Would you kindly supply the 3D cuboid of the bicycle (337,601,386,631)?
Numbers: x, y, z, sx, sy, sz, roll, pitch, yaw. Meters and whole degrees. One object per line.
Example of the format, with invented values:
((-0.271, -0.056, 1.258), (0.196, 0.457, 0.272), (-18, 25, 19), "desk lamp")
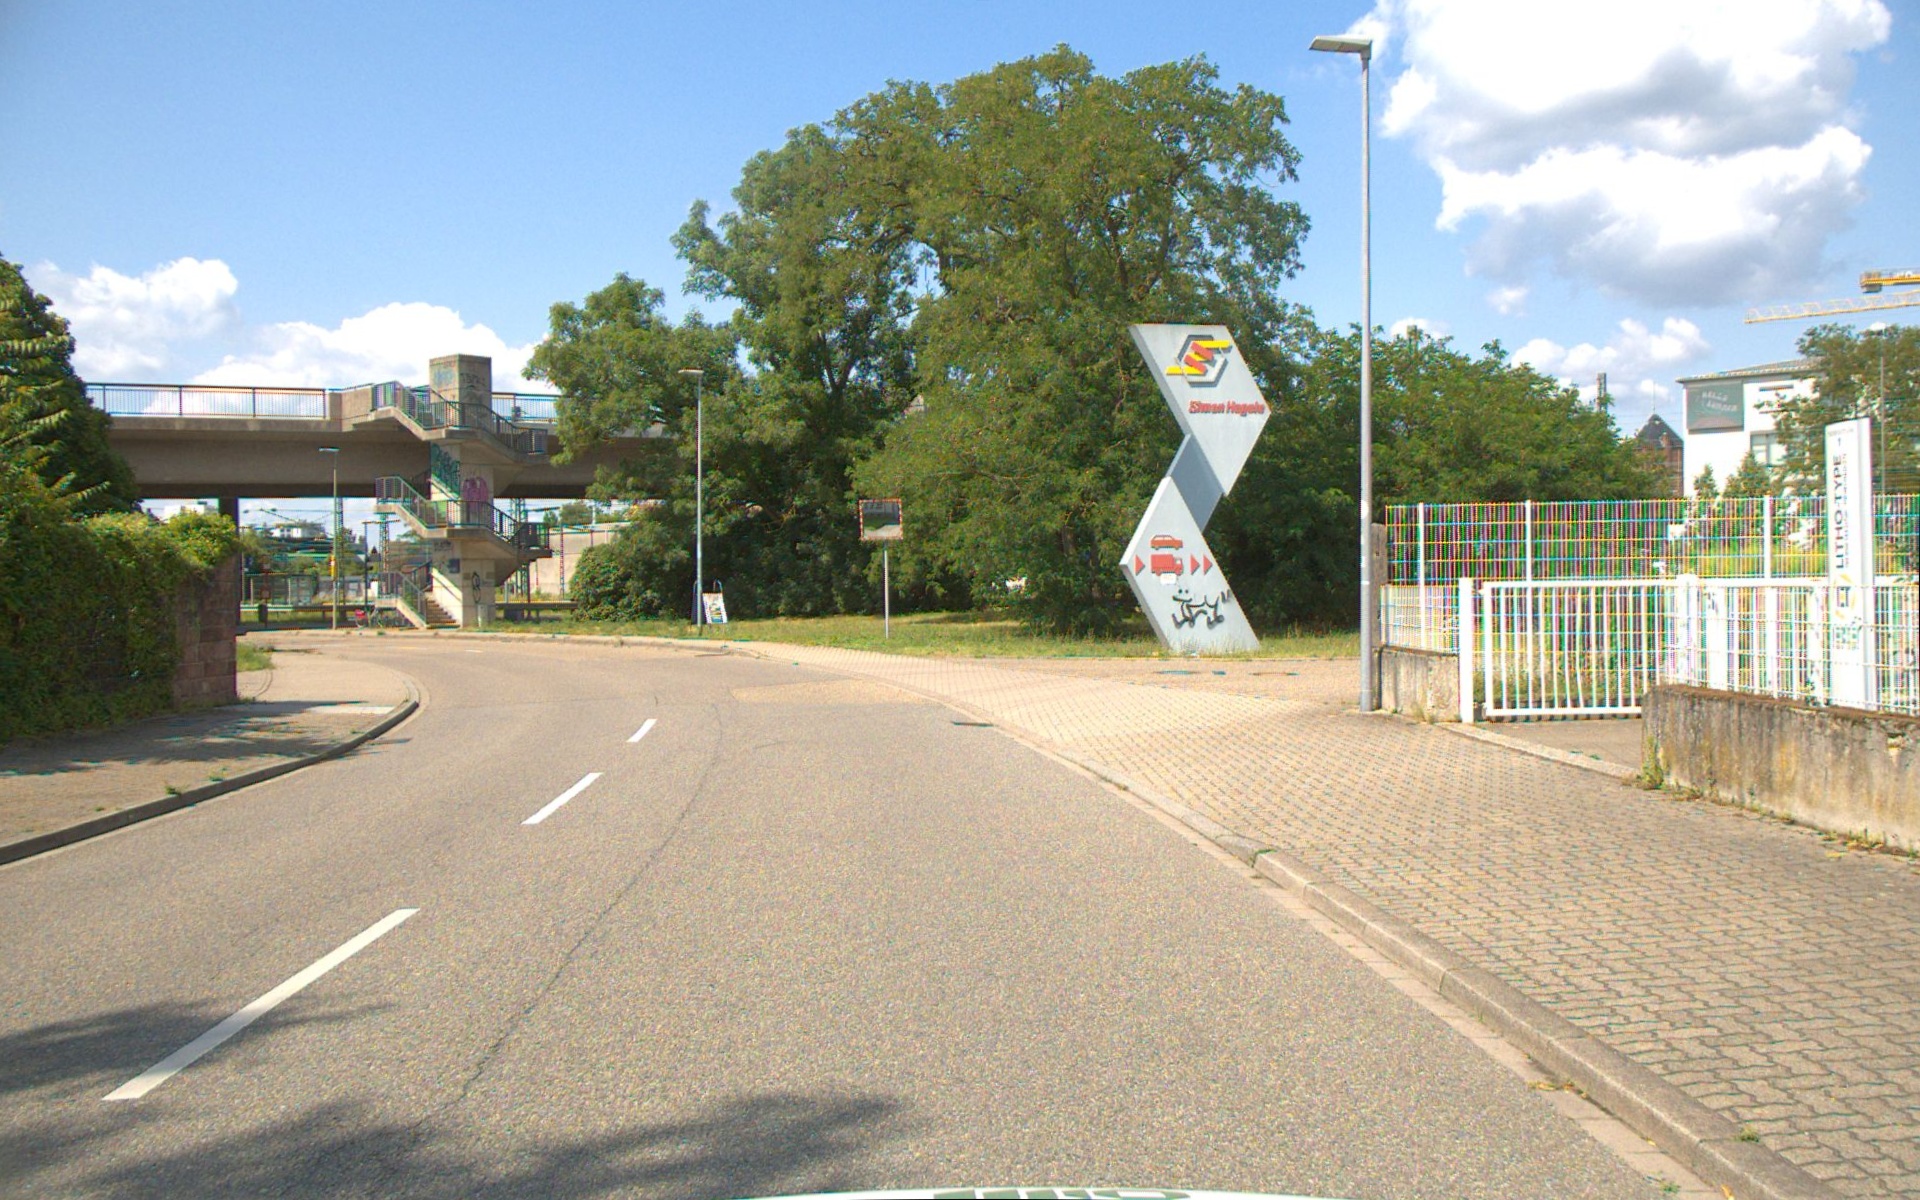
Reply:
((-24.147, 0.649, 66.704), (2.144, 1.127, 0.643), (-1, 1, 32), "bicycle")
